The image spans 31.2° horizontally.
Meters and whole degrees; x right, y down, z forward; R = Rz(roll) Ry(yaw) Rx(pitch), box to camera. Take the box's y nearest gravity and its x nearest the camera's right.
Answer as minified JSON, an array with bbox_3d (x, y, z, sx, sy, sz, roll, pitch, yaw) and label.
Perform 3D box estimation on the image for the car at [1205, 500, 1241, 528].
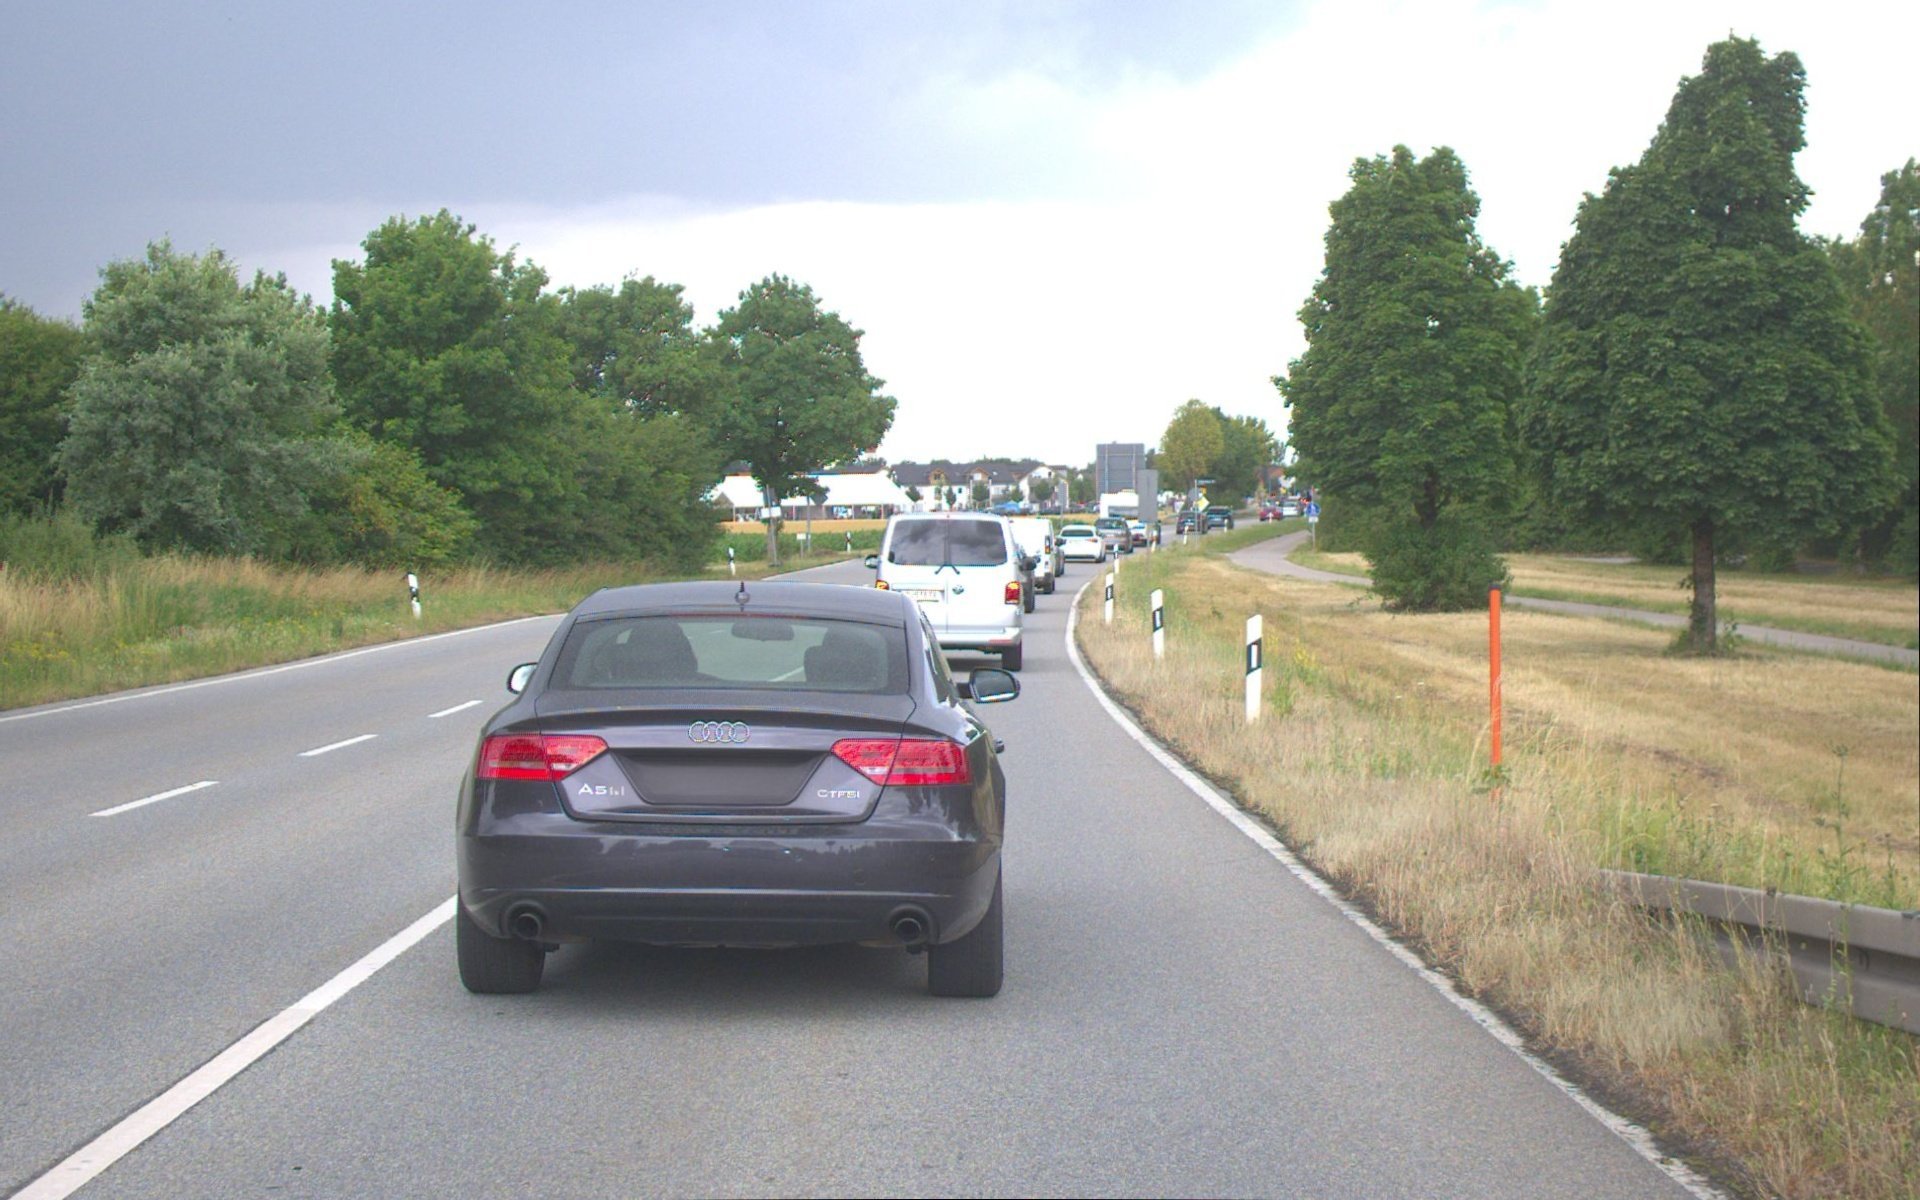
[{"bbox_3d":[15.598,-5.109,204.036,1.821,1.591,4.000,1,1,0],"label":"car"}]

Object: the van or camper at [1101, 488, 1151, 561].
[{"bbox_3d":[8.054,-3.661,167.045,2.340,3.469,5.718,0,1,2],"label":"van or camper"}]

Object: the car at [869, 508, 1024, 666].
[{"bbox_3d":[-0.205,-0.205,43.477,1.838,1.876,4.000,1,1,-1],"label":"car"}]

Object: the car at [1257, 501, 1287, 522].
[{"bbox_3d":[22.867,-6.515,252.040,1.821,1.487,4.000,1,1,0],"label":"car"}]

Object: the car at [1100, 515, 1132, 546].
[{"bbox_3d":[6.744,-2.998,148.341,1.258,1.349,3.465,0,1,5],"label":"car"}]

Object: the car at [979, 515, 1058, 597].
[{"bbox_3d":[1.554,-1.153,89.516,1.993,2.081,4.000,0,1,2],"label":"car"}]

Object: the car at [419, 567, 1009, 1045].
[{"bbox_3d":[-0.788,0.612,12.499,1.782,1.372,4.000,1,1,-1],"label":"car"}]

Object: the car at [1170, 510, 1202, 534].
[{"bbox_3d":[13.957,-4.810,212.433,1.719,1.446,4.000,1,1,0],"label":"car"}]

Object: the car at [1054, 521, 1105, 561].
[{"bbox_3d":[4.520,-2.228,130.156,1.736,1.509,3.746,0,1,5],"label":"car"}]

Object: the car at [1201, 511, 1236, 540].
[{"bbox_3d":[17.634,-5.080,234.973,1.993,2.007,4.000,0,1,-1],"label":"car"}]
